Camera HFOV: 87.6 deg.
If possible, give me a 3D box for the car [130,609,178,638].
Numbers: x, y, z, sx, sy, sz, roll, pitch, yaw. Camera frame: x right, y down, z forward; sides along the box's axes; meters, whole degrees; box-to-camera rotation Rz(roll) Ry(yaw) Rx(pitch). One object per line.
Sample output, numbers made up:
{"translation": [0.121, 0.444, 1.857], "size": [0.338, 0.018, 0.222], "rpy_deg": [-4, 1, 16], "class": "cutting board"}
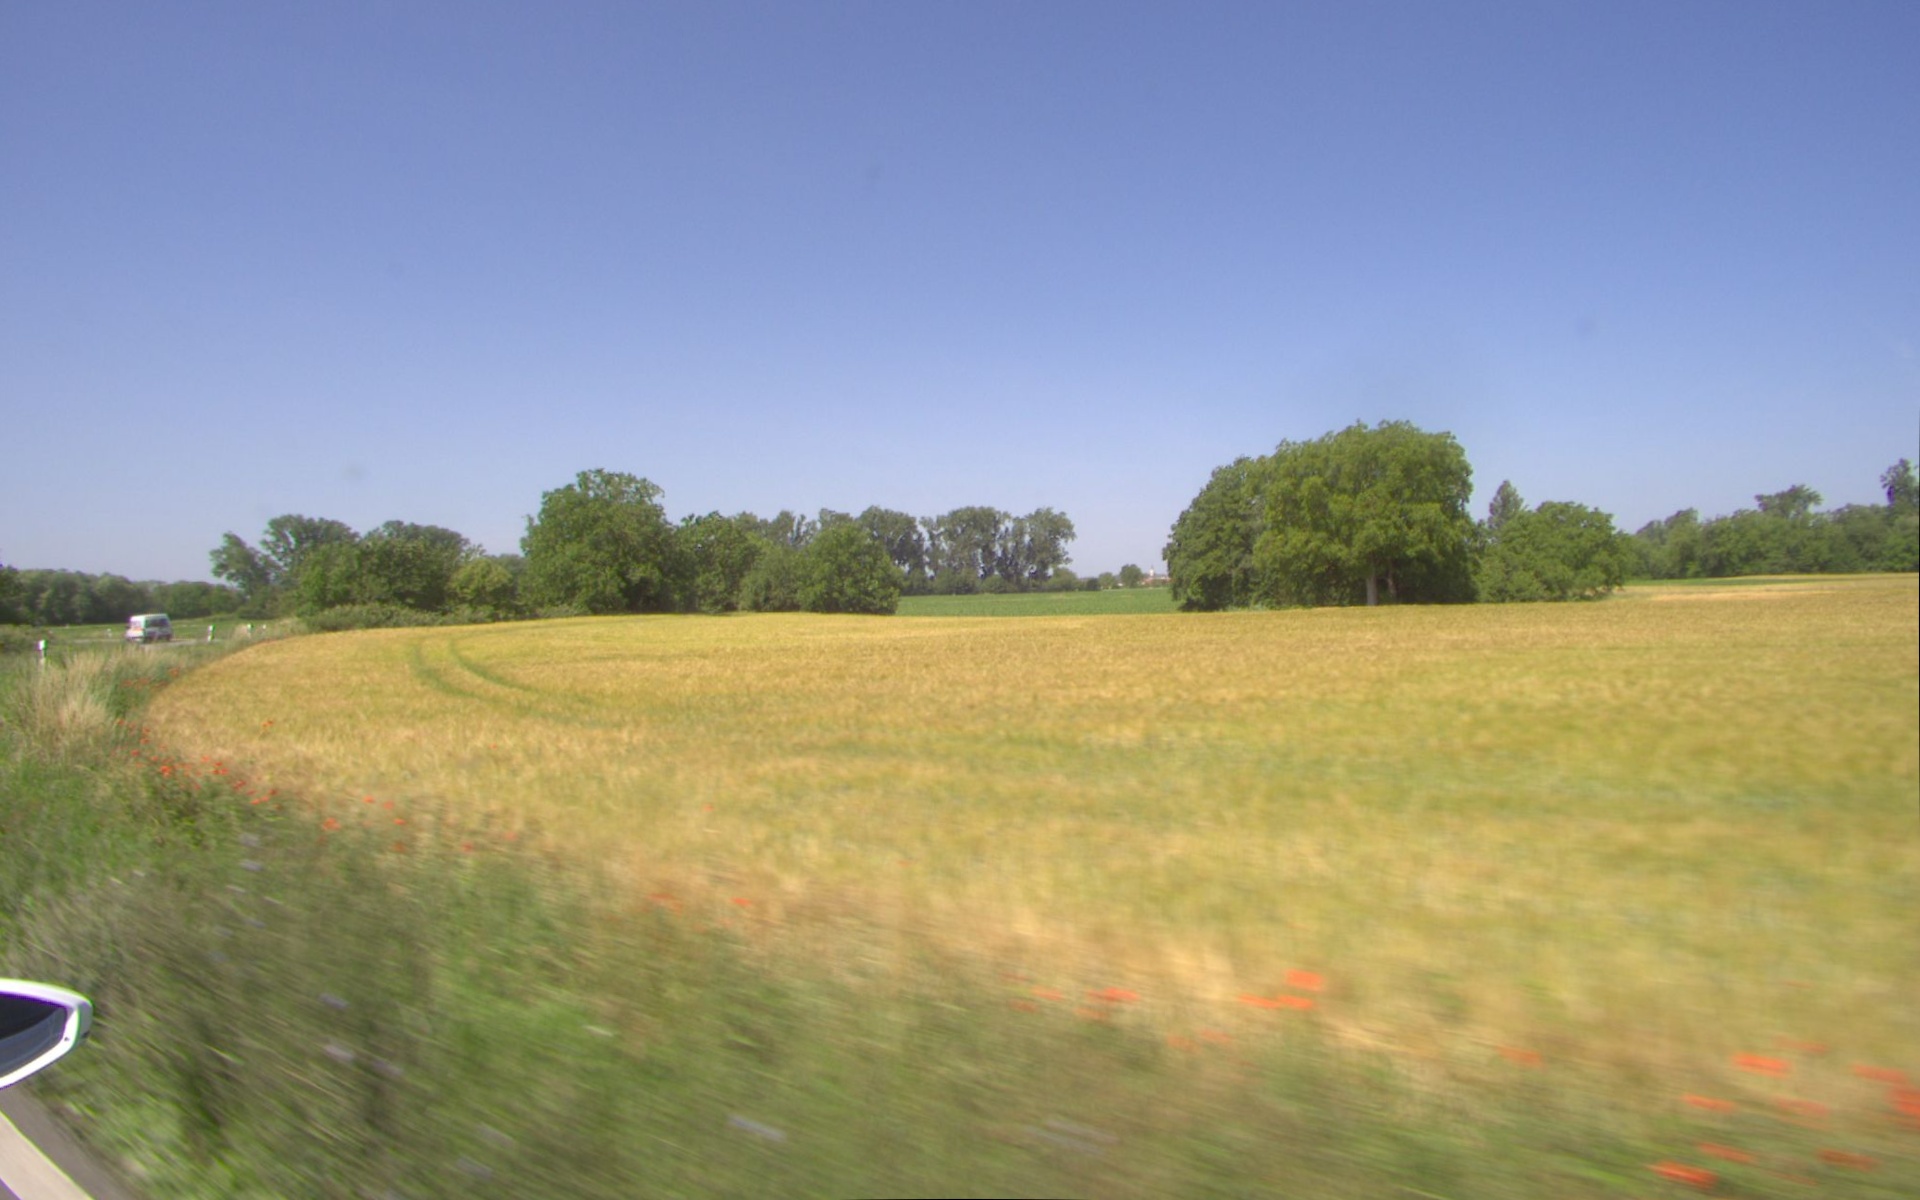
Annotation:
{"translation": [-70.828, 2.053, 87.985], "size": [5.617, 2.399, 2.094], "rpy_deg": [0, 2, 39], "class": "car"}
